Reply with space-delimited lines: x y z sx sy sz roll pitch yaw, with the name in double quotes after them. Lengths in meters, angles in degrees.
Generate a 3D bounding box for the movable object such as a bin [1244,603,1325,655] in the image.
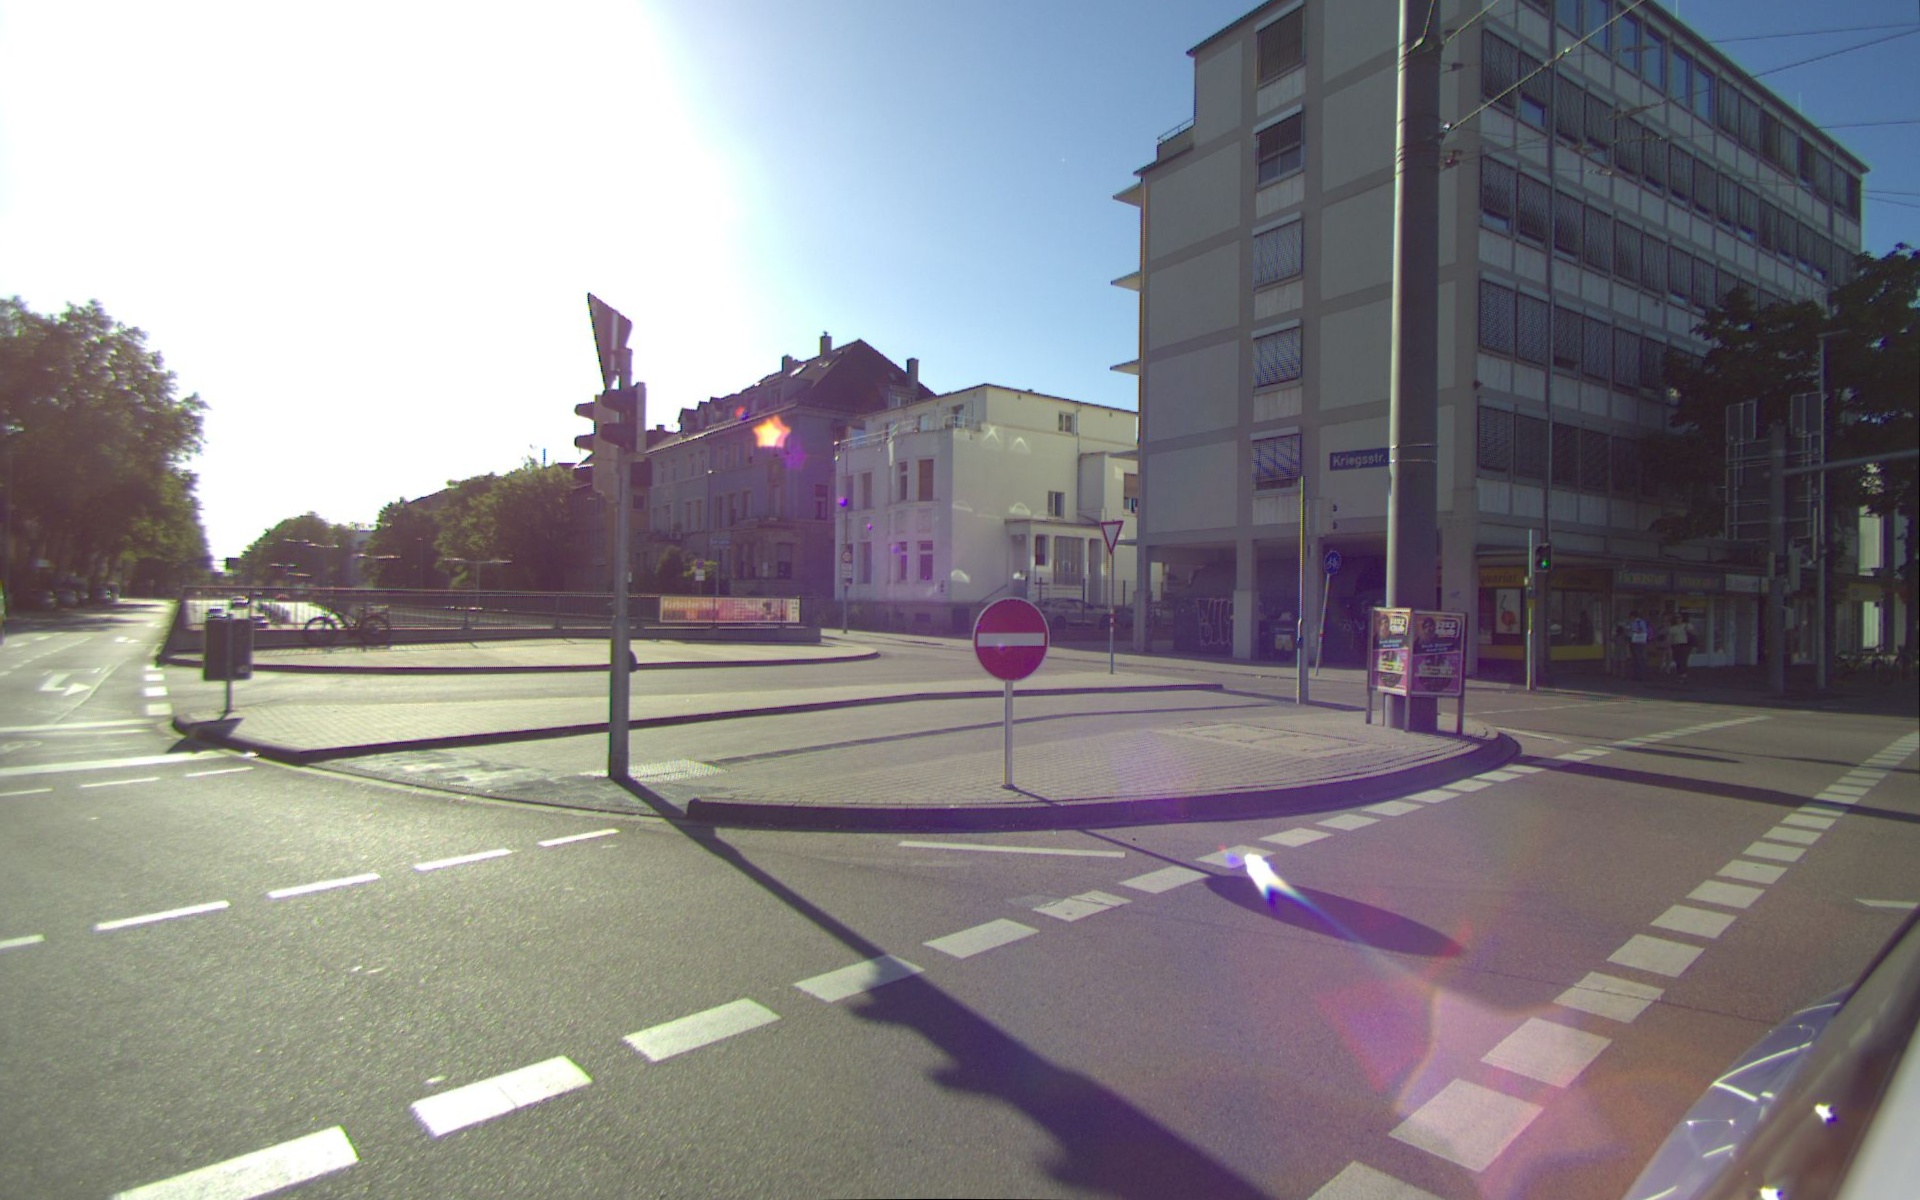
9.833 0.840 30.726 1.423 1.488 1.918 0 0 -30 "movable object such as a bin"

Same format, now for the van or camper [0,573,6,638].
-28.607 0.170 28.498 2.004 1.977 5.258 1 0 -38 "van or camper"

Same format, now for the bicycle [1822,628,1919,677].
24.627 1.408 27.389 0.471 1.171 1.898 1 1 -30 "bicycle"

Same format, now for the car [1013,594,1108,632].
4.370 0.551 43.904 3.951 1.578 1.801 1 -1 -37 "car"

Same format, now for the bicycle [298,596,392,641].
-15.506 0.472 25.540 1.959 1.094 0.596 1 -2 -38 "bicycle"

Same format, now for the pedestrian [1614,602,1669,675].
16.777 0.926 24.908 0.829 1.743 0.880 1 -1 -35 "pedestrian"

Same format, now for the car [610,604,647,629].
-22.206 1.085 67.787 1.655 1.617 3.897 1 0 -28 "car"

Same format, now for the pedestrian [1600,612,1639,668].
17.090 1.026 26.228 0.608 1.440 0.647 1 -1 -30 "pedestrian"

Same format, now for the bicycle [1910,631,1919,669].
30.479 1.584 31.109 0.427 1.166 1.815 1 0 -35 "bicycle"

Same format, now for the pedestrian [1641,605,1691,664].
19.733 0.947 28.291 0.862 1.623 0.846 1 -1 -31 "pedestrian"

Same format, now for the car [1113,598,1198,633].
9.248 0.735 47.683 3.950 1.580 1.786 1 -1 -38 "car"

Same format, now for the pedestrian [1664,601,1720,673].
18.004 0.899 24.904 0.862 1.729 0.846 1 -1 -31 "pedestrian"
